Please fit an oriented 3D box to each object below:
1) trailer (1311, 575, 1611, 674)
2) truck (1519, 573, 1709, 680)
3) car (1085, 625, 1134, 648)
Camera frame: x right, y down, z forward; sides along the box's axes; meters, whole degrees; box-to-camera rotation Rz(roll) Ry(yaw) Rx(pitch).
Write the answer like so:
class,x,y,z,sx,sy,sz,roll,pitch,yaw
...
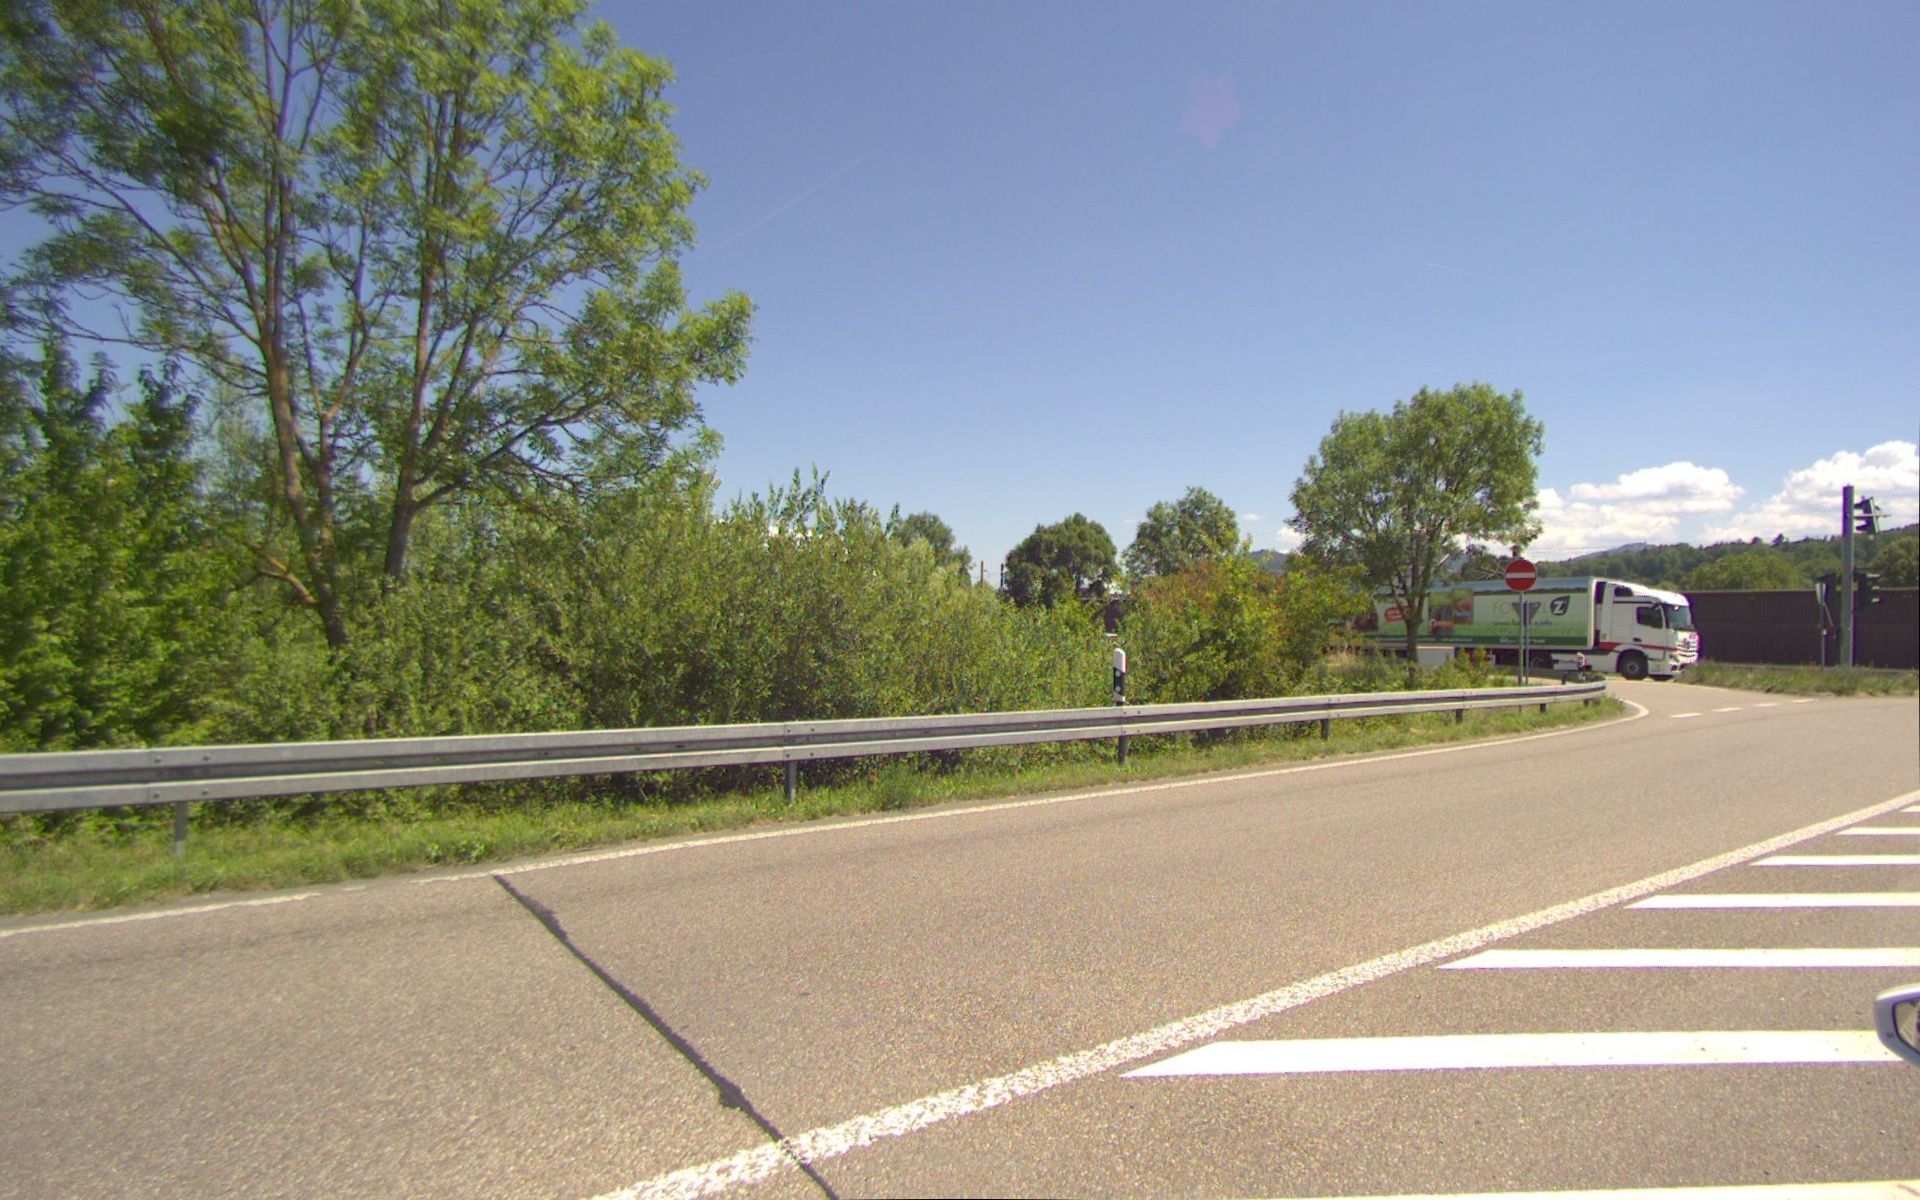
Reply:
class,x,y,z,sx,sy,sz,roll,pitch,yaw
trailer,22.820,1.047,47.193,3.027,4.007,13.074,2,-1,-31
truck,26.515,1.041,40.960,3.027,4.007,5.736,2,-1,-31
car,10.359,2.524,69.678,1.537,1.484,3.455,2,-1,-31
